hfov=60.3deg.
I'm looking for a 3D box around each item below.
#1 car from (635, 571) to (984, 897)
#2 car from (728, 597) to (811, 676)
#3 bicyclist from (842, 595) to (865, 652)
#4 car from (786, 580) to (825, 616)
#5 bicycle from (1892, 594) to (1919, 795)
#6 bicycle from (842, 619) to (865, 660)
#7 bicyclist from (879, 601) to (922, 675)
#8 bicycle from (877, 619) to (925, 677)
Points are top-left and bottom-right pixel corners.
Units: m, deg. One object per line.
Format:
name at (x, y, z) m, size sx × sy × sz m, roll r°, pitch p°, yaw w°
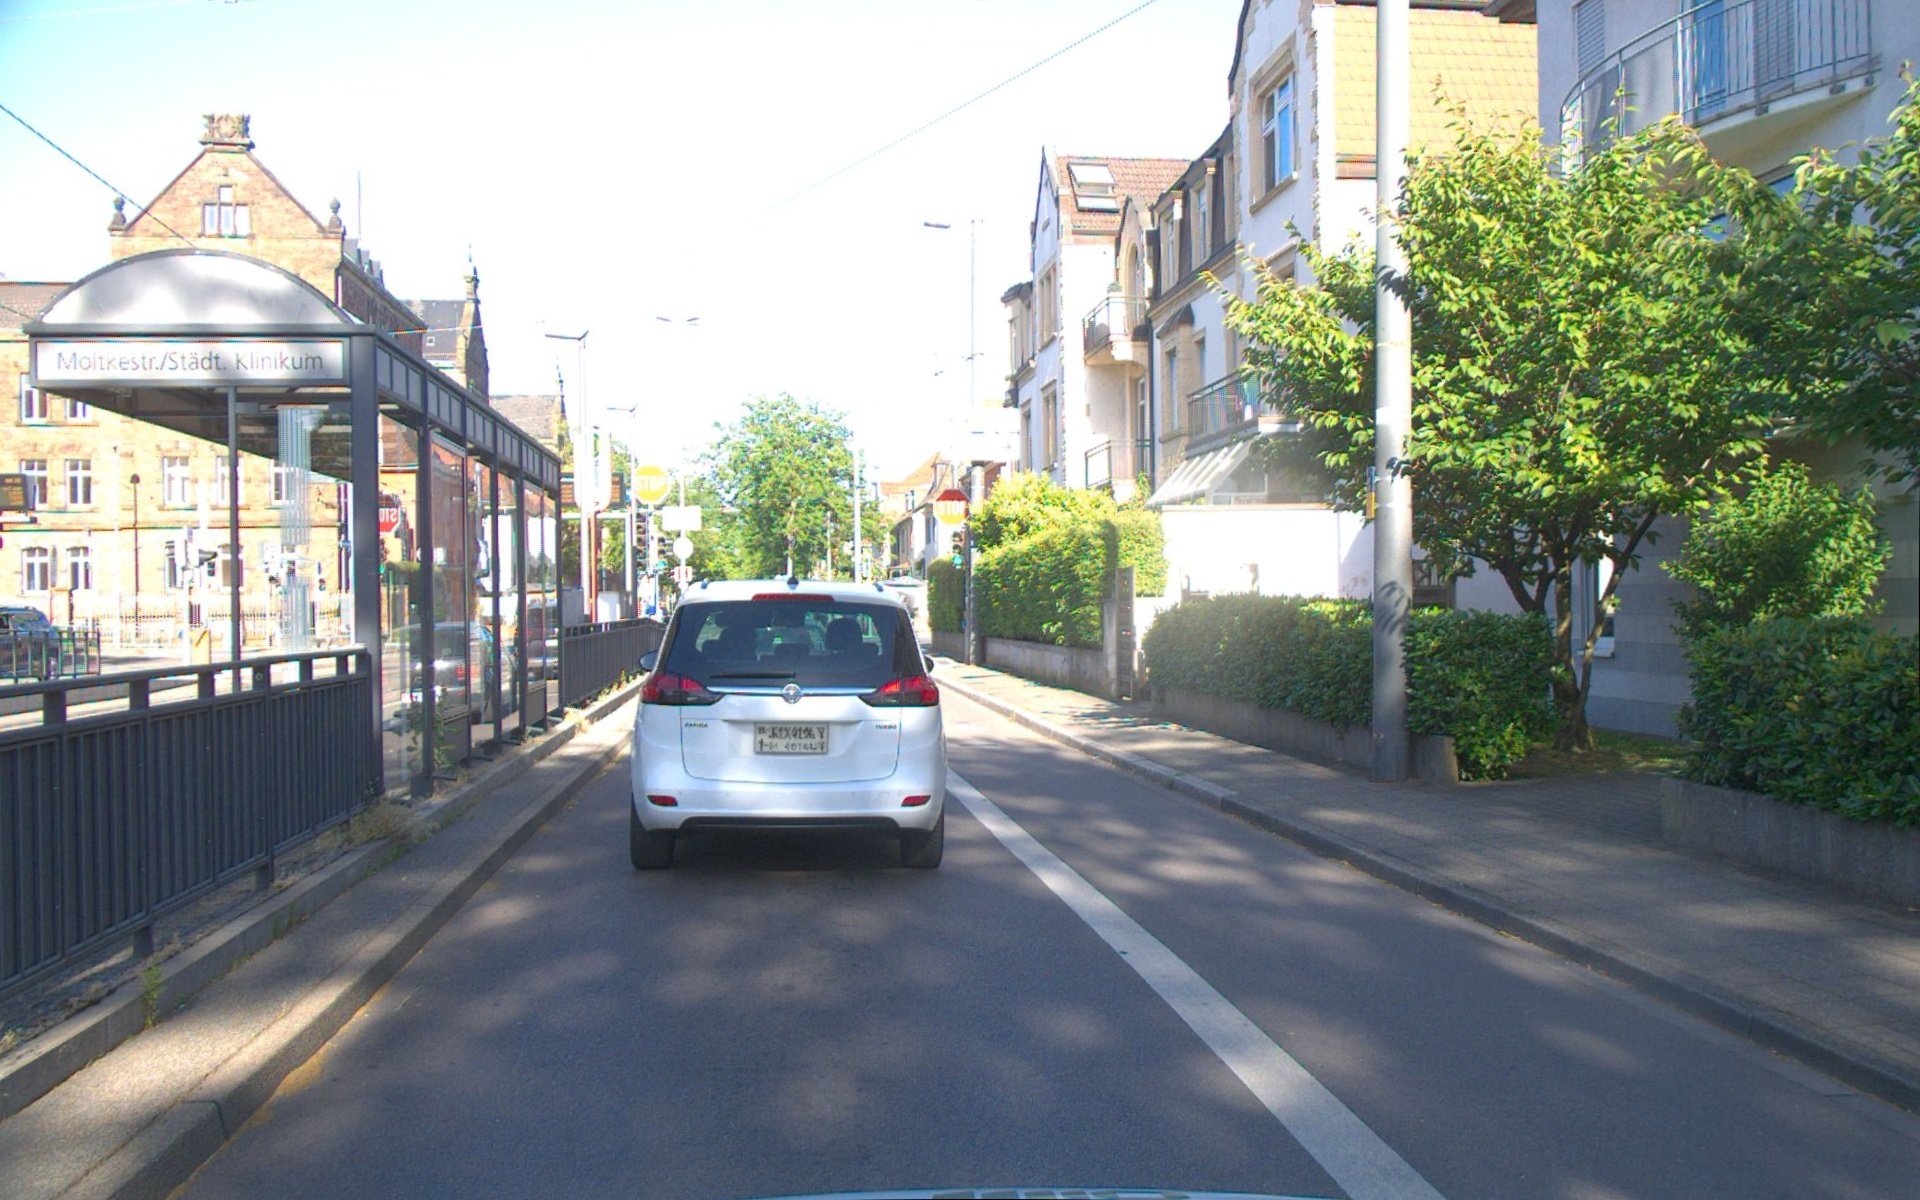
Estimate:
car at (-0.976, 0.708, 10.579) m, size 1.799 × 1.671 × 3.913 m, roll 0°, pitch -1°, yaw -6°
car at (-4.255, 0.801, 37.076) m, size 1.742 × 1.660 × 3.875 m, roll 0°, pitch -1°, yaw -7°
bicyclist at (-3.150, 0.682, 48.887) m, size 0.672 × 1.663 × 1.014 m, roll 0°, pitch -1°, yaw -4°
car at (-7.421, -0.069, 79.601) m, size 1.741 × 1.660 × 3.877 m, roll 0°, pitch -1°, yaw -4°
bicycle at (6.771, 0.511, 9.981) m, size 1.806 × 1.224 × 0.824 m, roll -4°, pitch 0°, yaw -8°
bicycle at (-3.149, 1.167, 48.908) m, size 0.672 × 1.177 × 1.618 m, roll 0°, pitch -1°, yaw -4°
bicyclist at (-1.252, 0.786, 34.790) m, size 0.805 × 1.528 × 0.933 m, roll 0°, pitch -1°, yaw -7°
bicycle at (-1.265, 0.992, 34.995) m, size 0.813 × 1.175 × 2.091 m, roll 0°, pitch -1°, yaw -7°
